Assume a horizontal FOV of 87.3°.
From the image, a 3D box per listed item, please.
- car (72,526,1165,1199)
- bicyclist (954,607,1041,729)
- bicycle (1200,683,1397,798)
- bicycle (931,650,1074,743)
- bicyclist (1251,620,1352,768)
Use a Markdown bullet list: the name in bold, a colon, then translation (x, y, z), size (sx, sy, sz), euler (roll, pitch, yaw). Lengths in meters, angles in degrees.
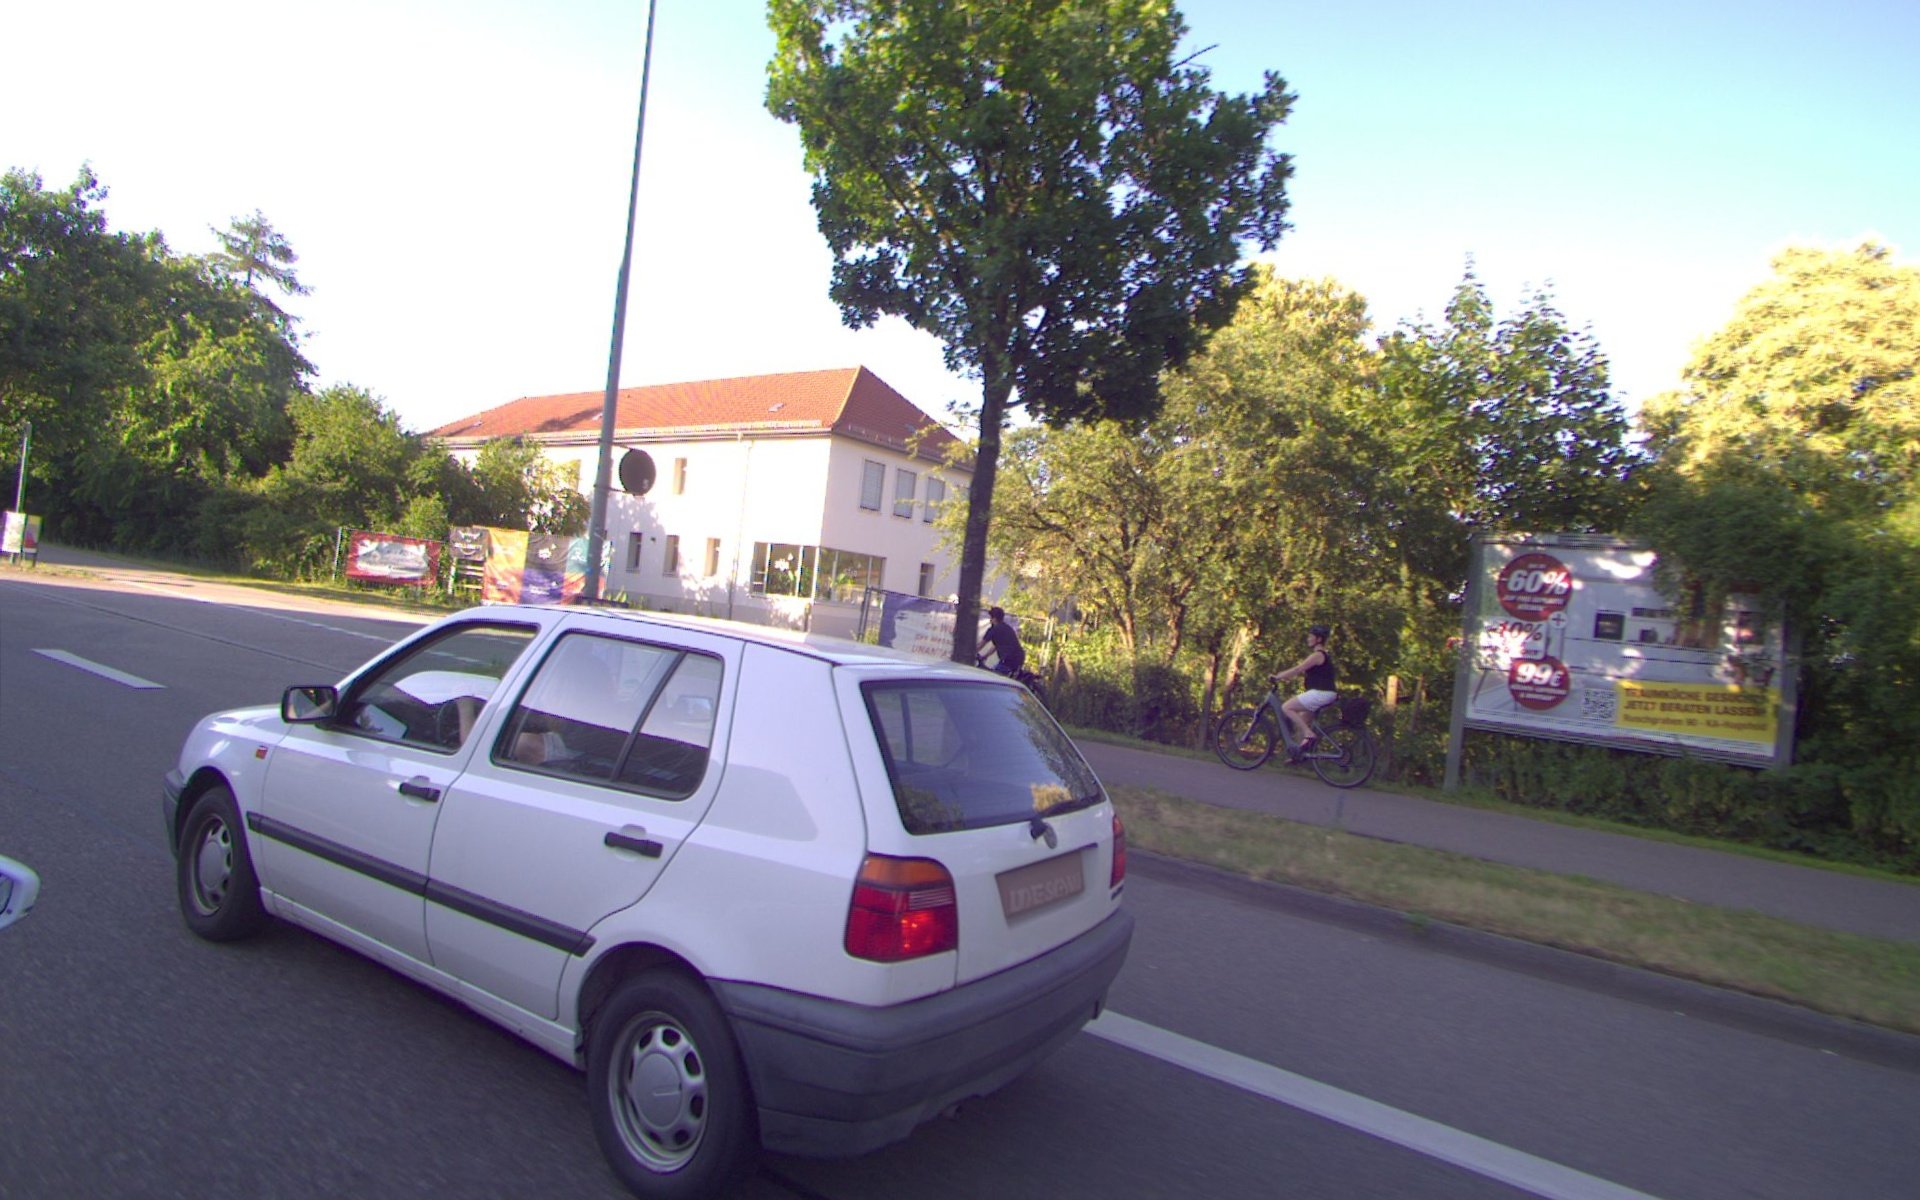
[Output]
- **car**: translation (-1.466, 0.669, 3.821), size (3.970, 1.414, 1.615), euler (6, -2, 31)
- **bicyclist**: translation (0.508, 0.918, 13.652), size (0.834, 1.520, 0.613), euler (7, 0, 34)
- **bicycle**: translation (3.944, 1.610, 11.815), size (2.025, 0.985, 0.617), euler (6, 0, 34)
- **bicycle**: translation (0.556, 1.287, 13.596), size (1.792, 0.985, 0.617), euler (6, 0, 34)
- **bicyclist**: translation (4.006, 1.086, 11.806), size (0.834, 1.598, 0.603), euler (7, 0, 34)
